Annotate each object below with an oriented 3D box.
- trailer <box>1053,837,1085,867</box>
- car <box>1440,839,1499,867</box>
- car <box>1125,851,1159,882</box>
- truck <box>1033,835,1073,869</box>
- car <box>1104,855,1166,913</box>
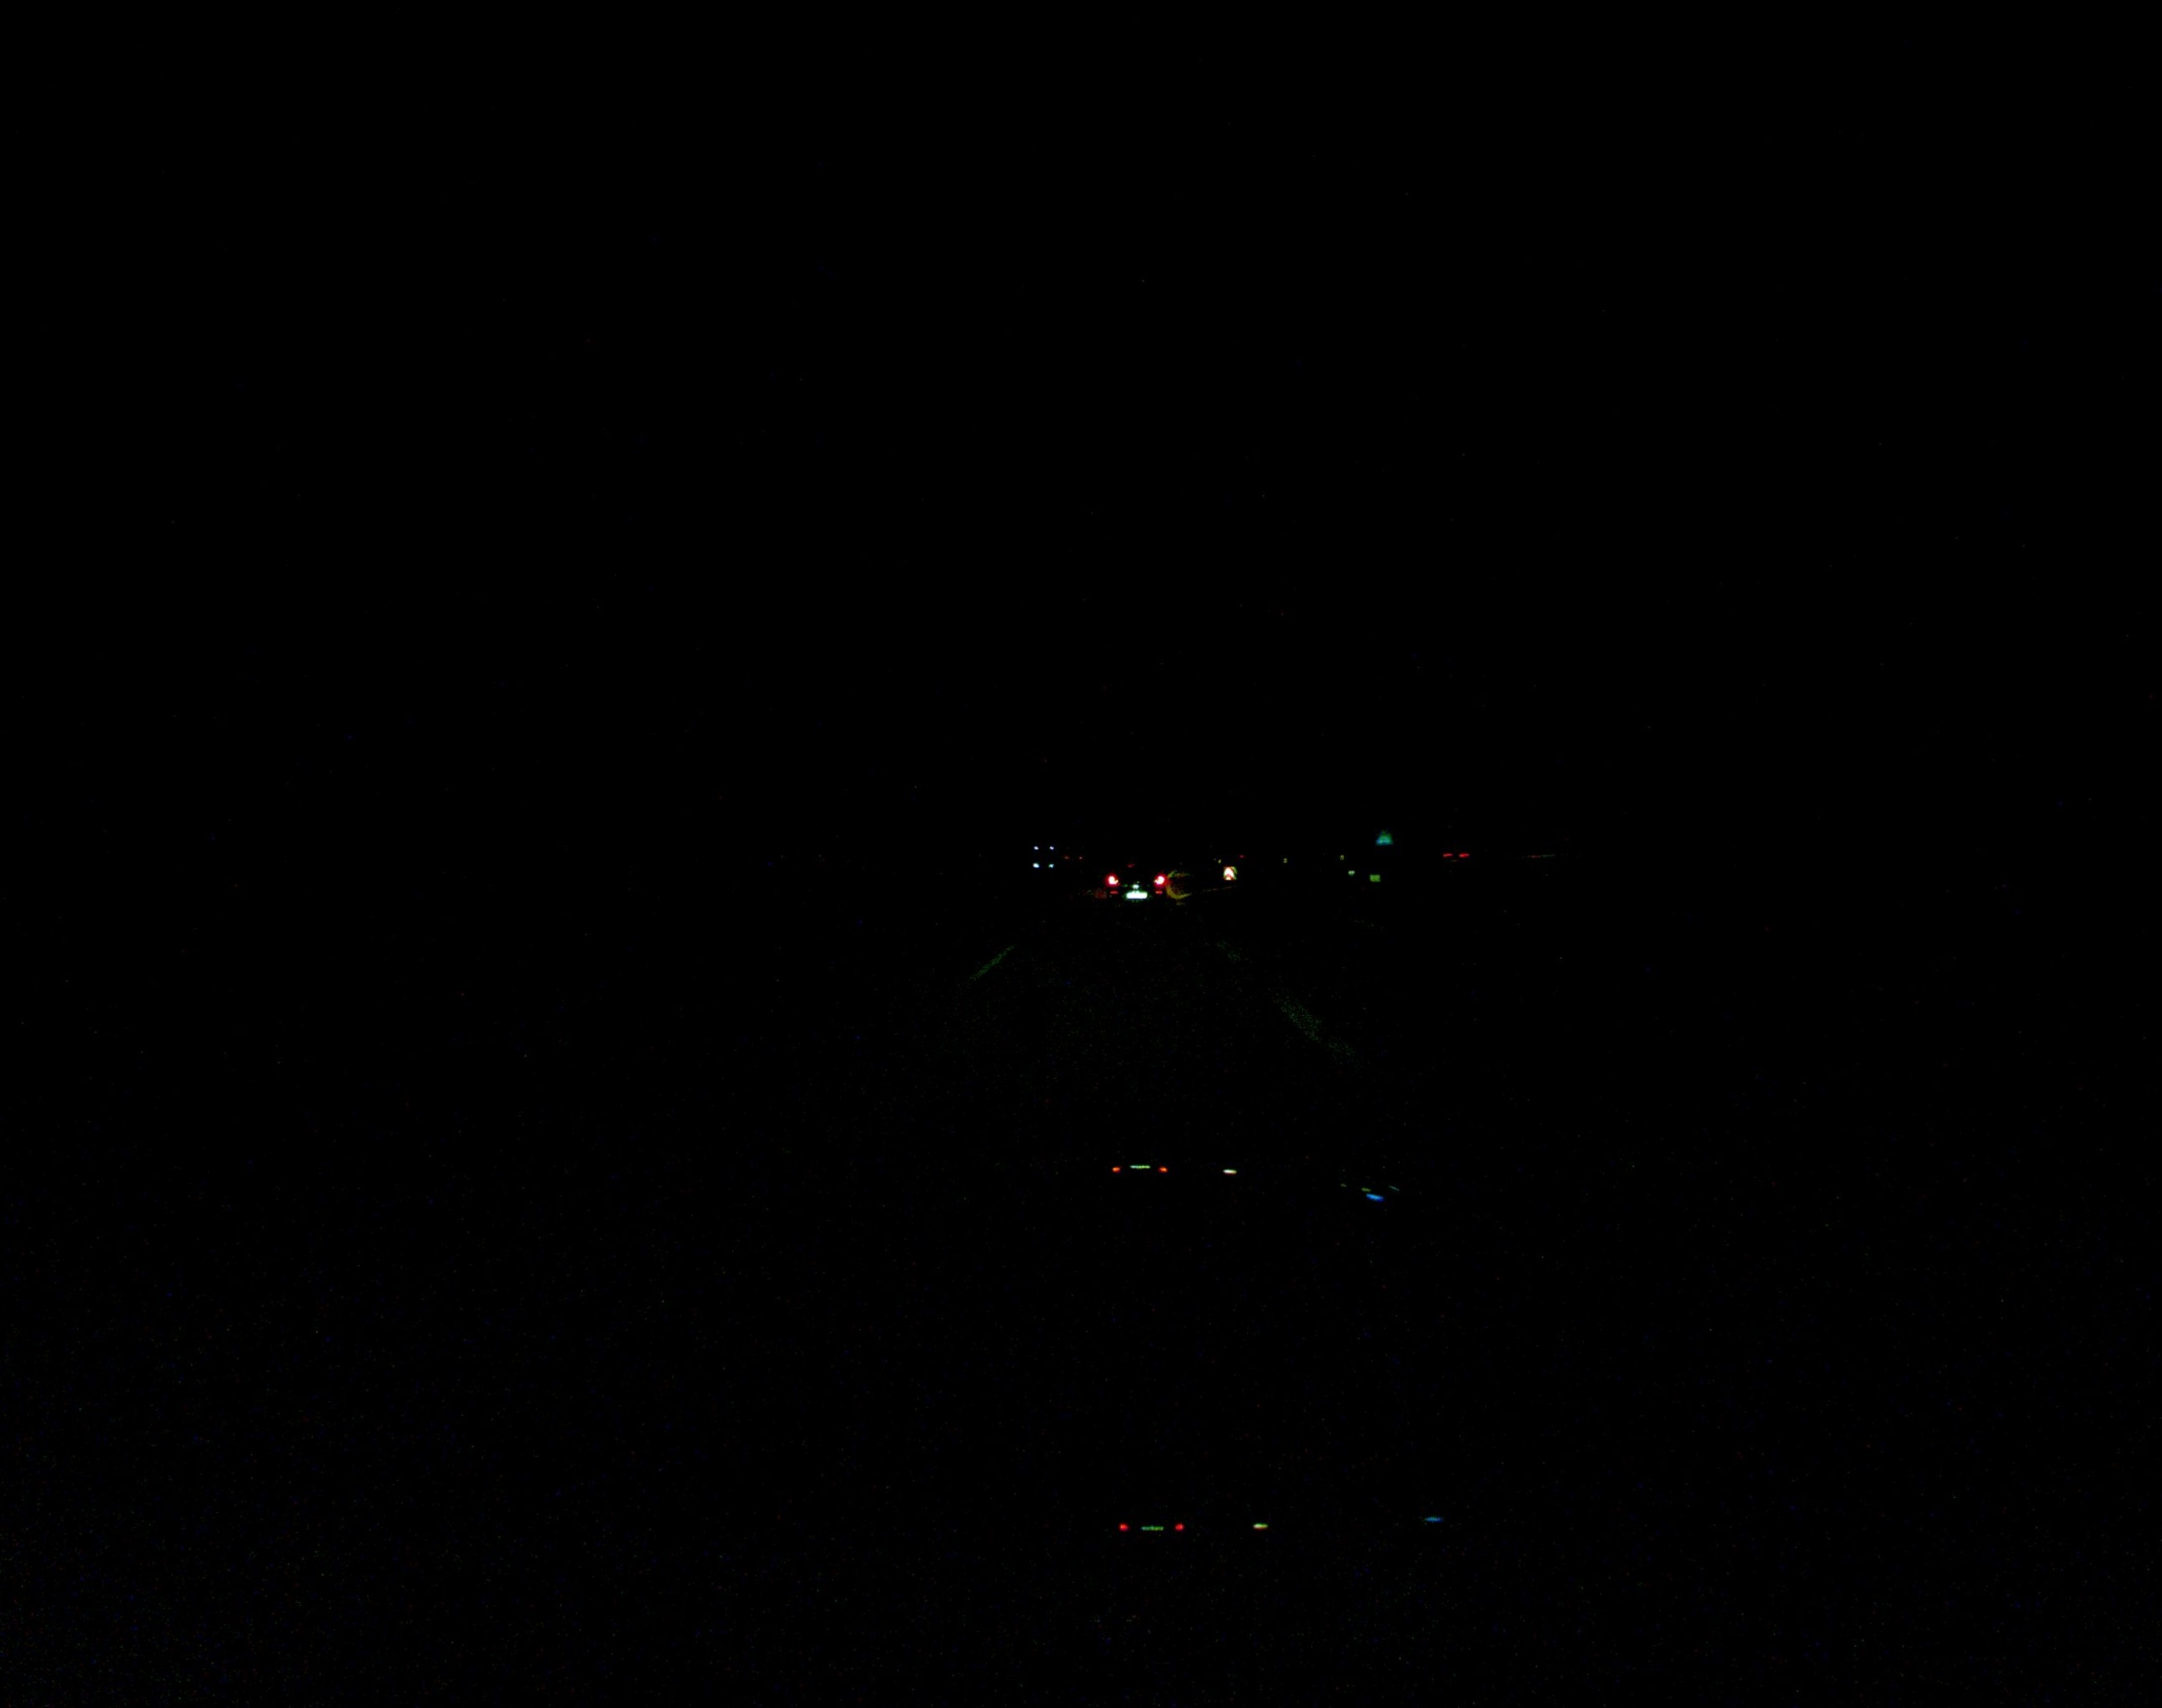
[{"bbox_3d":[-1.600,-0.347,114.865,2.700,3.956,9.073,-3,0,10],"label":"trailer"},{"bbox_3d":[28.565,-0.081,59.864,4.281,1.816,1.918,-2,0,-34],"label":"car"},{"bbox_3d":[3.695,0.728,49.607,1.898,1.698,4.004,-2,0,4],"label":"car"},{"bbox_3d":[-3.525,-0.254,105.215,2.663,4.044,10.686,-3,0,11],"label":"truck"},{"bbox_3d":[1.500,0.811,23.697,1.583,1.508,4.000,-1,0,1],"label":"car"}]
